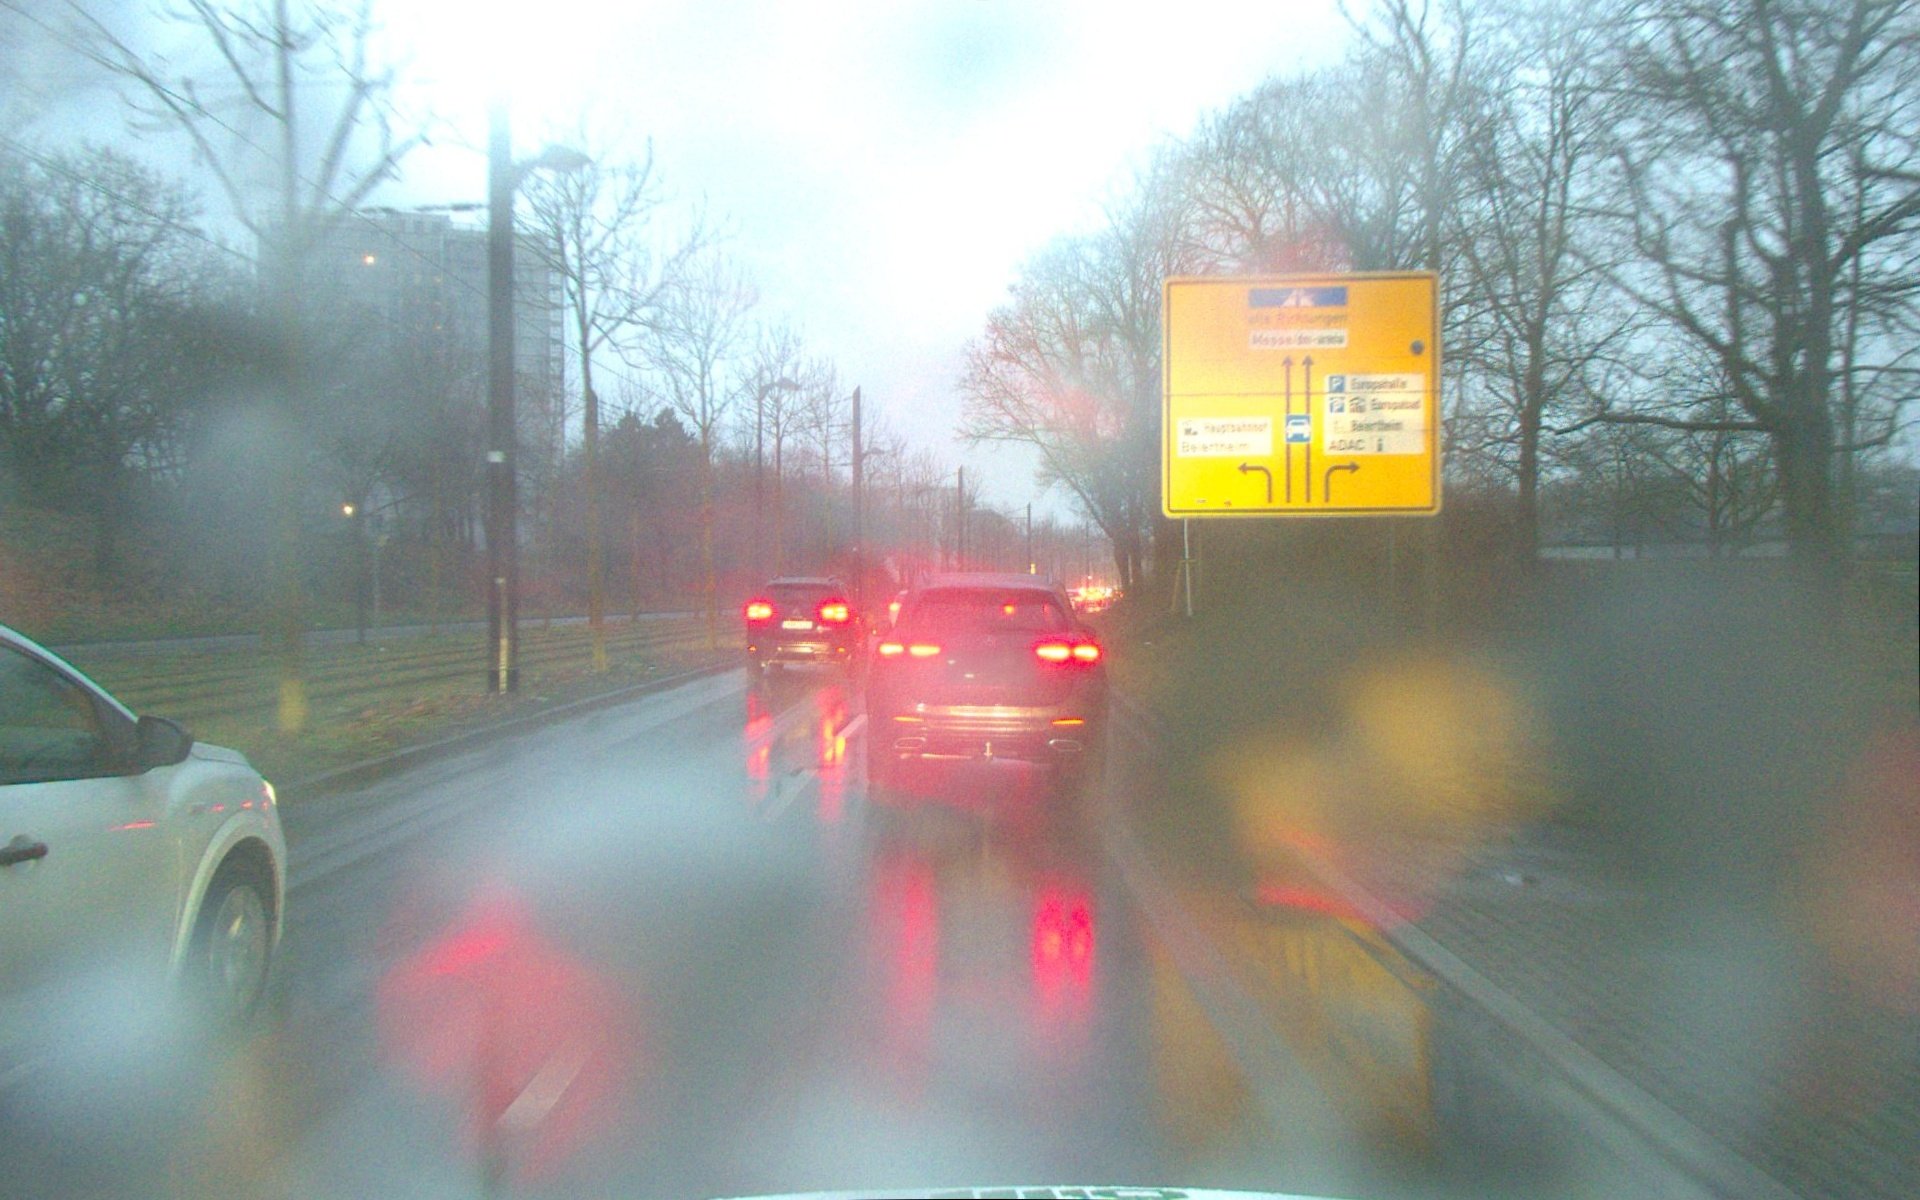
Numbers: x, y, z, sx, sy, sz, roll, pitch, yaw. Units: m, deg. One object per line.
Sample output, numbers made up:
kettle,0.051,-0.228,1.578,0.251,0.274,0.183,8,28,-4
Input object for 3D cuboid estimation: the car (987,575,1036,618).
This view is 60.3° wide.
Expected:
car,1.991,-0.150,63.191,1.672,1.585,3.998,0,0,5

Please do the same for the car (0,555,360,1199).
car,-3.057,0.673,4.020,1.673,1.551,4.135,0,0,0

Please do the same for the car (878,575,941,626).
car,-1.643,-0.002,55.163,1.841,1.621,4.001,0,1,1

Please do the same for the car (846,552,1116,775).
car,0.165,0.437,14.066,1.957,1.611,4.000,0,1,0

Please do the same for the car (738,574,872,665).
car,-2.647,0.283,29.121,1.841,1.484,4.001,0,1,2
